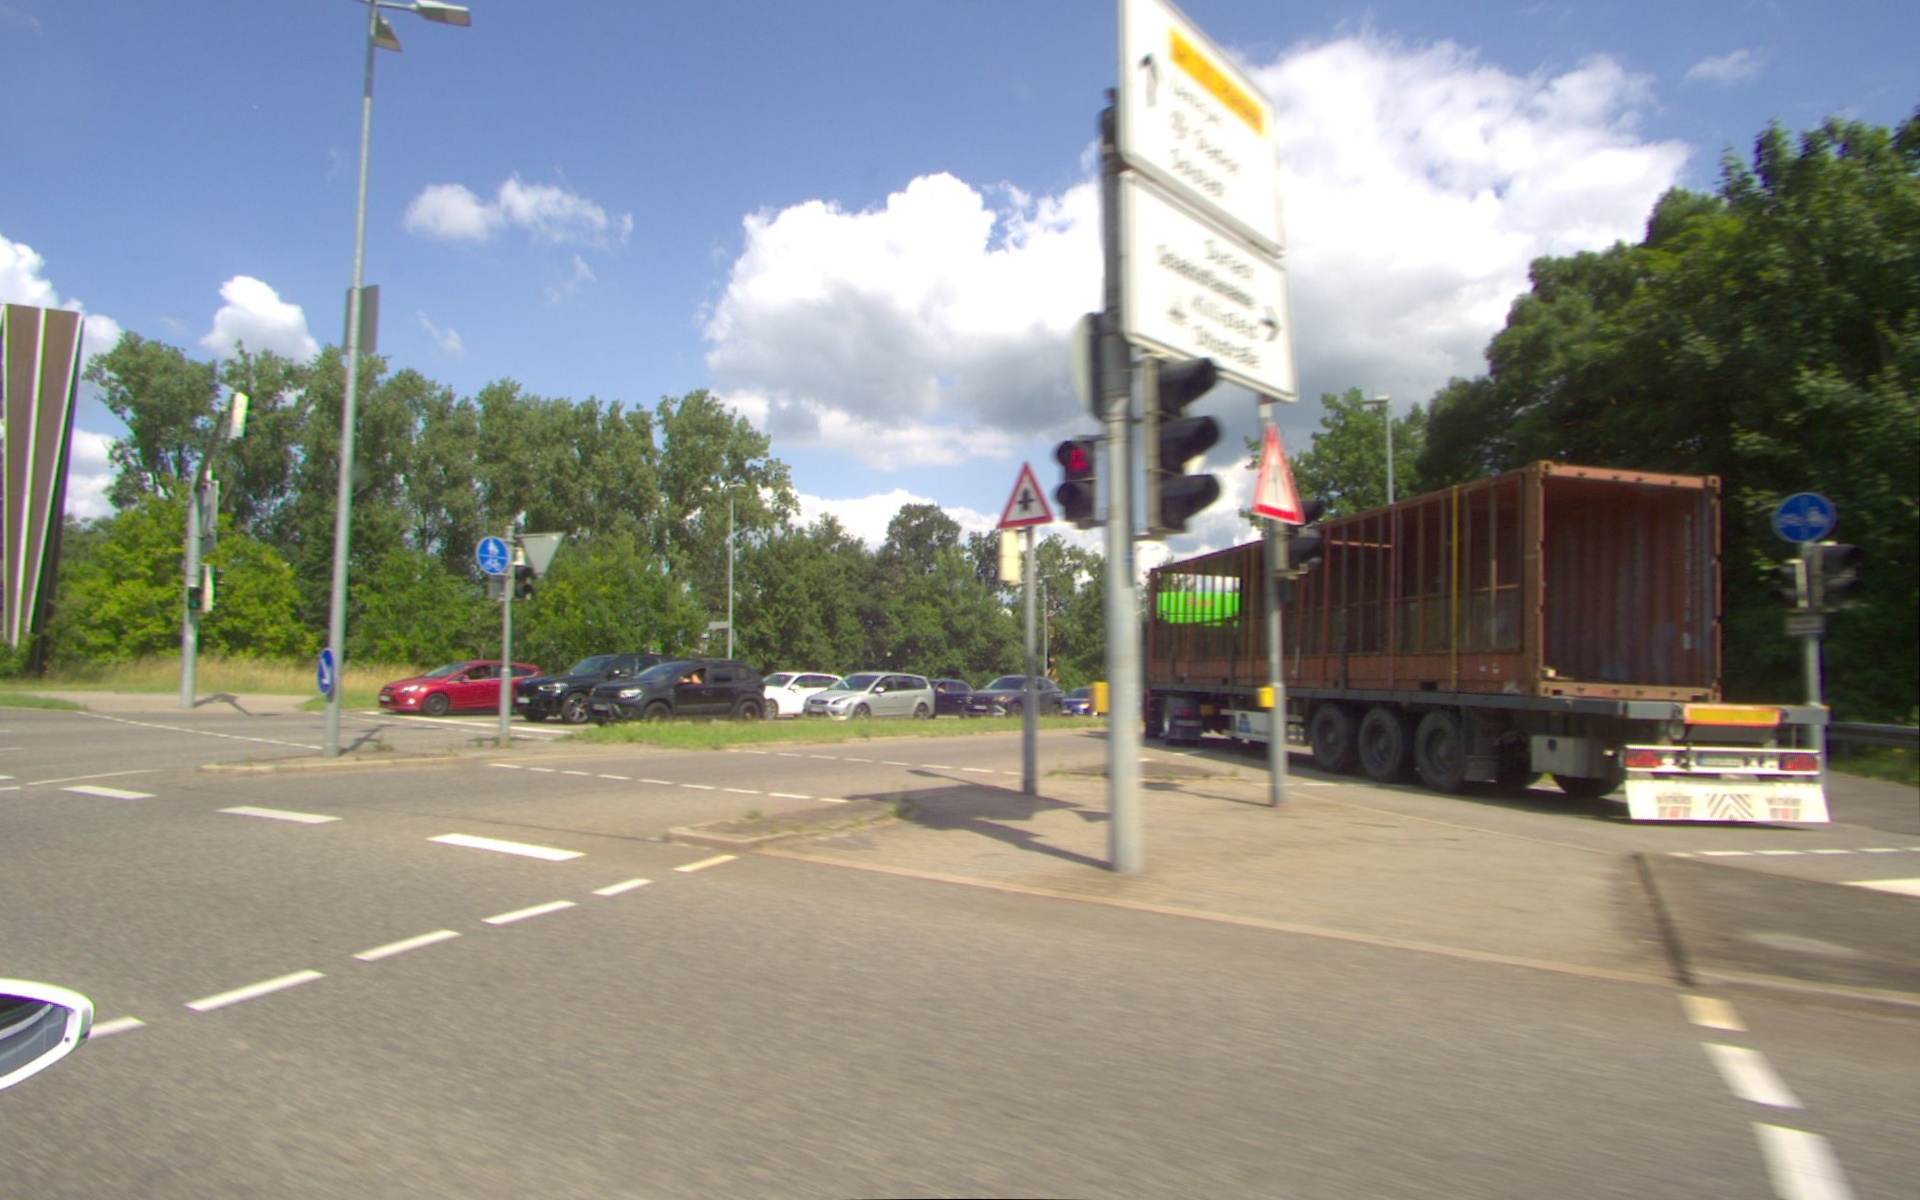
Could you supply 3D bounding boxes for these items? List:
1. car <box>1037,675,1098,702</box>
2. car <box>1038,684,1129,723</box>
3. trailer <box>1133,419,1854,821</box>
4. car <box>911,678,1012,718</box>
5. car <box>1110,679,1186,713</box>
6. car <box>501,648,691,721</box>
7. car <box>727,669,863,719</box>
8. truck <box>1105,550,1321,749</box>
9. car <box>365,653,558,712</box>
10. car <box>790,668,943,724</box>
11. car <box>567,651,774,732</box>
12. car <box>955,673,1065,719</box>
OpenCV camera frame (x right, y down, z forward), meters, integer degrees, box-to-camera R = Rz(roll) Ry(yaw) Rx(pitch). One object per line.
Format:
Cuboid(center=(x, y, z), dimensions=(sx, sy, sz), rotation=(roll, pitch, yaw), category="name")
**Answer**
Cuboid(center=(6.268, 5.107, 58.241), dimensions=(1.842, 1.482, 3.979), rotation=(-1, -4, 35), category="car")
Cuboid(center=(4.926, 4.060, 39.615), dimensions=(1.856, 1.392, 4.028), rotation=(-1, -5, 36), category="car")
Cuboid(center=(6.611, 0.810, 16.859), dimensions=(2.598, 3.936, 13.856), rotation=(3, -5, -10), category="trailer")
Cuboid(center=(0.125, 3.707, 37.901), dimensions=(1.679, 1.392, 4.193), rotation=(-1, -5, 36), category="car")
Cuboid(center=(8.579, 4.366, 45.484), dimensions=(1.856, 1.392, 4.028), rotation=(-1, -5, 36), category="car")
Cuboid(center=(-9.110, 2.152, 25.389), dimensions=(1.814, 1.665, 4.193), rotation=(-1, -5, 36), category="car")
Cuboid(center=(-4.998, 2.898, 30.885), dimensions=(1.625, 1.392, 4.193), rotation=(-1, -5, 36), category="car")
Cuboid(center=(5.630, 1.286, 23.386), dimensions=(2.823, 3.948, 5.883), rotation=(3, -5, -8), category="truck")
Cuboid(center=(-13.062, 2.187, 26.479), dimensions=(1.736, 1.392, 4.193), rotation=(-1, -5, 36), category="car")
Cuboid(center=(-2.500, 2.658, 27.907), dimensions=(1.625, 1.392, 4.519), rotation=(-1, -5, 36), category="car")
Cuboid(center=(-6.441, 2.075, 22.699), dimensions=(1.821, 1.635, 4.272), rotation=(-3, -6, 36), category="car")
Cuboid(center=(1.782, 3.279, 34.275), dimensions=(1.856, 1.392, 4.028), rotation=(-1, -5, 36), category="car")
